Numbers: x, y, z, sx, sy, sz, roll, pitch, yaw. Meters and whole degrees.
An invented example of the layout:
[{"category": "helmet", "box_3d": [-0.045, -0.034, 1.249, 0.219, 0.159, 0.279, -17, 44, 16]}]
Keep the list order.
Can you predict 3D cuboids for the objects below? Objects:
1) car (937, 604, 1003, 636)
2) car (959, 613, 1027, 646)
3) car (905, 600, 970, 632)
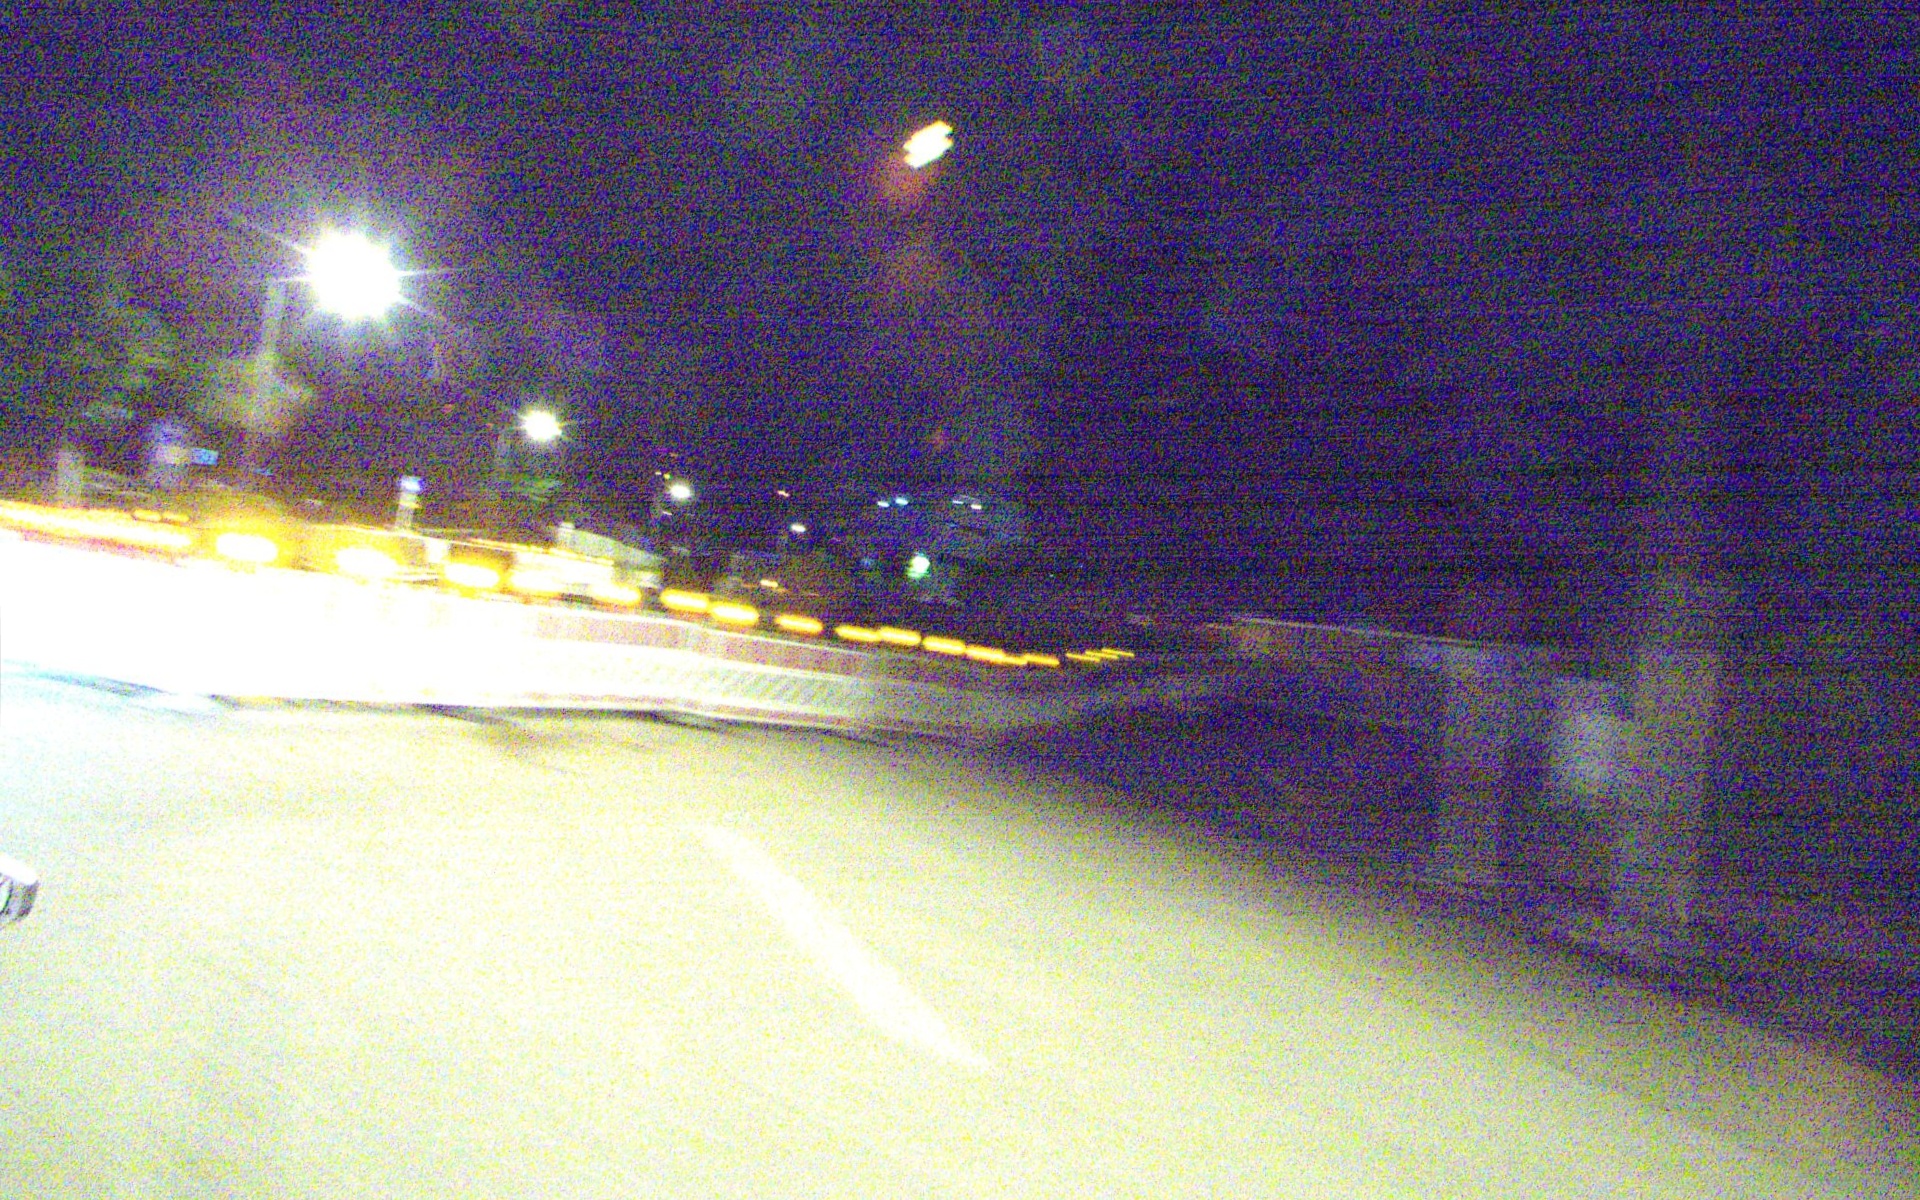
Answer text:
[{"category": "car", "box_3d": [0.661, 1.246, 61.804, 1.969, 1.437, 3.989, 8, -1, 37]}, {"category": "car", "box_3d": [2.008, 1.800, 60.030, 1.969, 1.437, 3.989, 8, -1, 37]}, {"category": "car", "box_3d": [-1.385, 1.006, 63.481, 1.969, 1.437, 3.989, 8, -1, 37]}]
